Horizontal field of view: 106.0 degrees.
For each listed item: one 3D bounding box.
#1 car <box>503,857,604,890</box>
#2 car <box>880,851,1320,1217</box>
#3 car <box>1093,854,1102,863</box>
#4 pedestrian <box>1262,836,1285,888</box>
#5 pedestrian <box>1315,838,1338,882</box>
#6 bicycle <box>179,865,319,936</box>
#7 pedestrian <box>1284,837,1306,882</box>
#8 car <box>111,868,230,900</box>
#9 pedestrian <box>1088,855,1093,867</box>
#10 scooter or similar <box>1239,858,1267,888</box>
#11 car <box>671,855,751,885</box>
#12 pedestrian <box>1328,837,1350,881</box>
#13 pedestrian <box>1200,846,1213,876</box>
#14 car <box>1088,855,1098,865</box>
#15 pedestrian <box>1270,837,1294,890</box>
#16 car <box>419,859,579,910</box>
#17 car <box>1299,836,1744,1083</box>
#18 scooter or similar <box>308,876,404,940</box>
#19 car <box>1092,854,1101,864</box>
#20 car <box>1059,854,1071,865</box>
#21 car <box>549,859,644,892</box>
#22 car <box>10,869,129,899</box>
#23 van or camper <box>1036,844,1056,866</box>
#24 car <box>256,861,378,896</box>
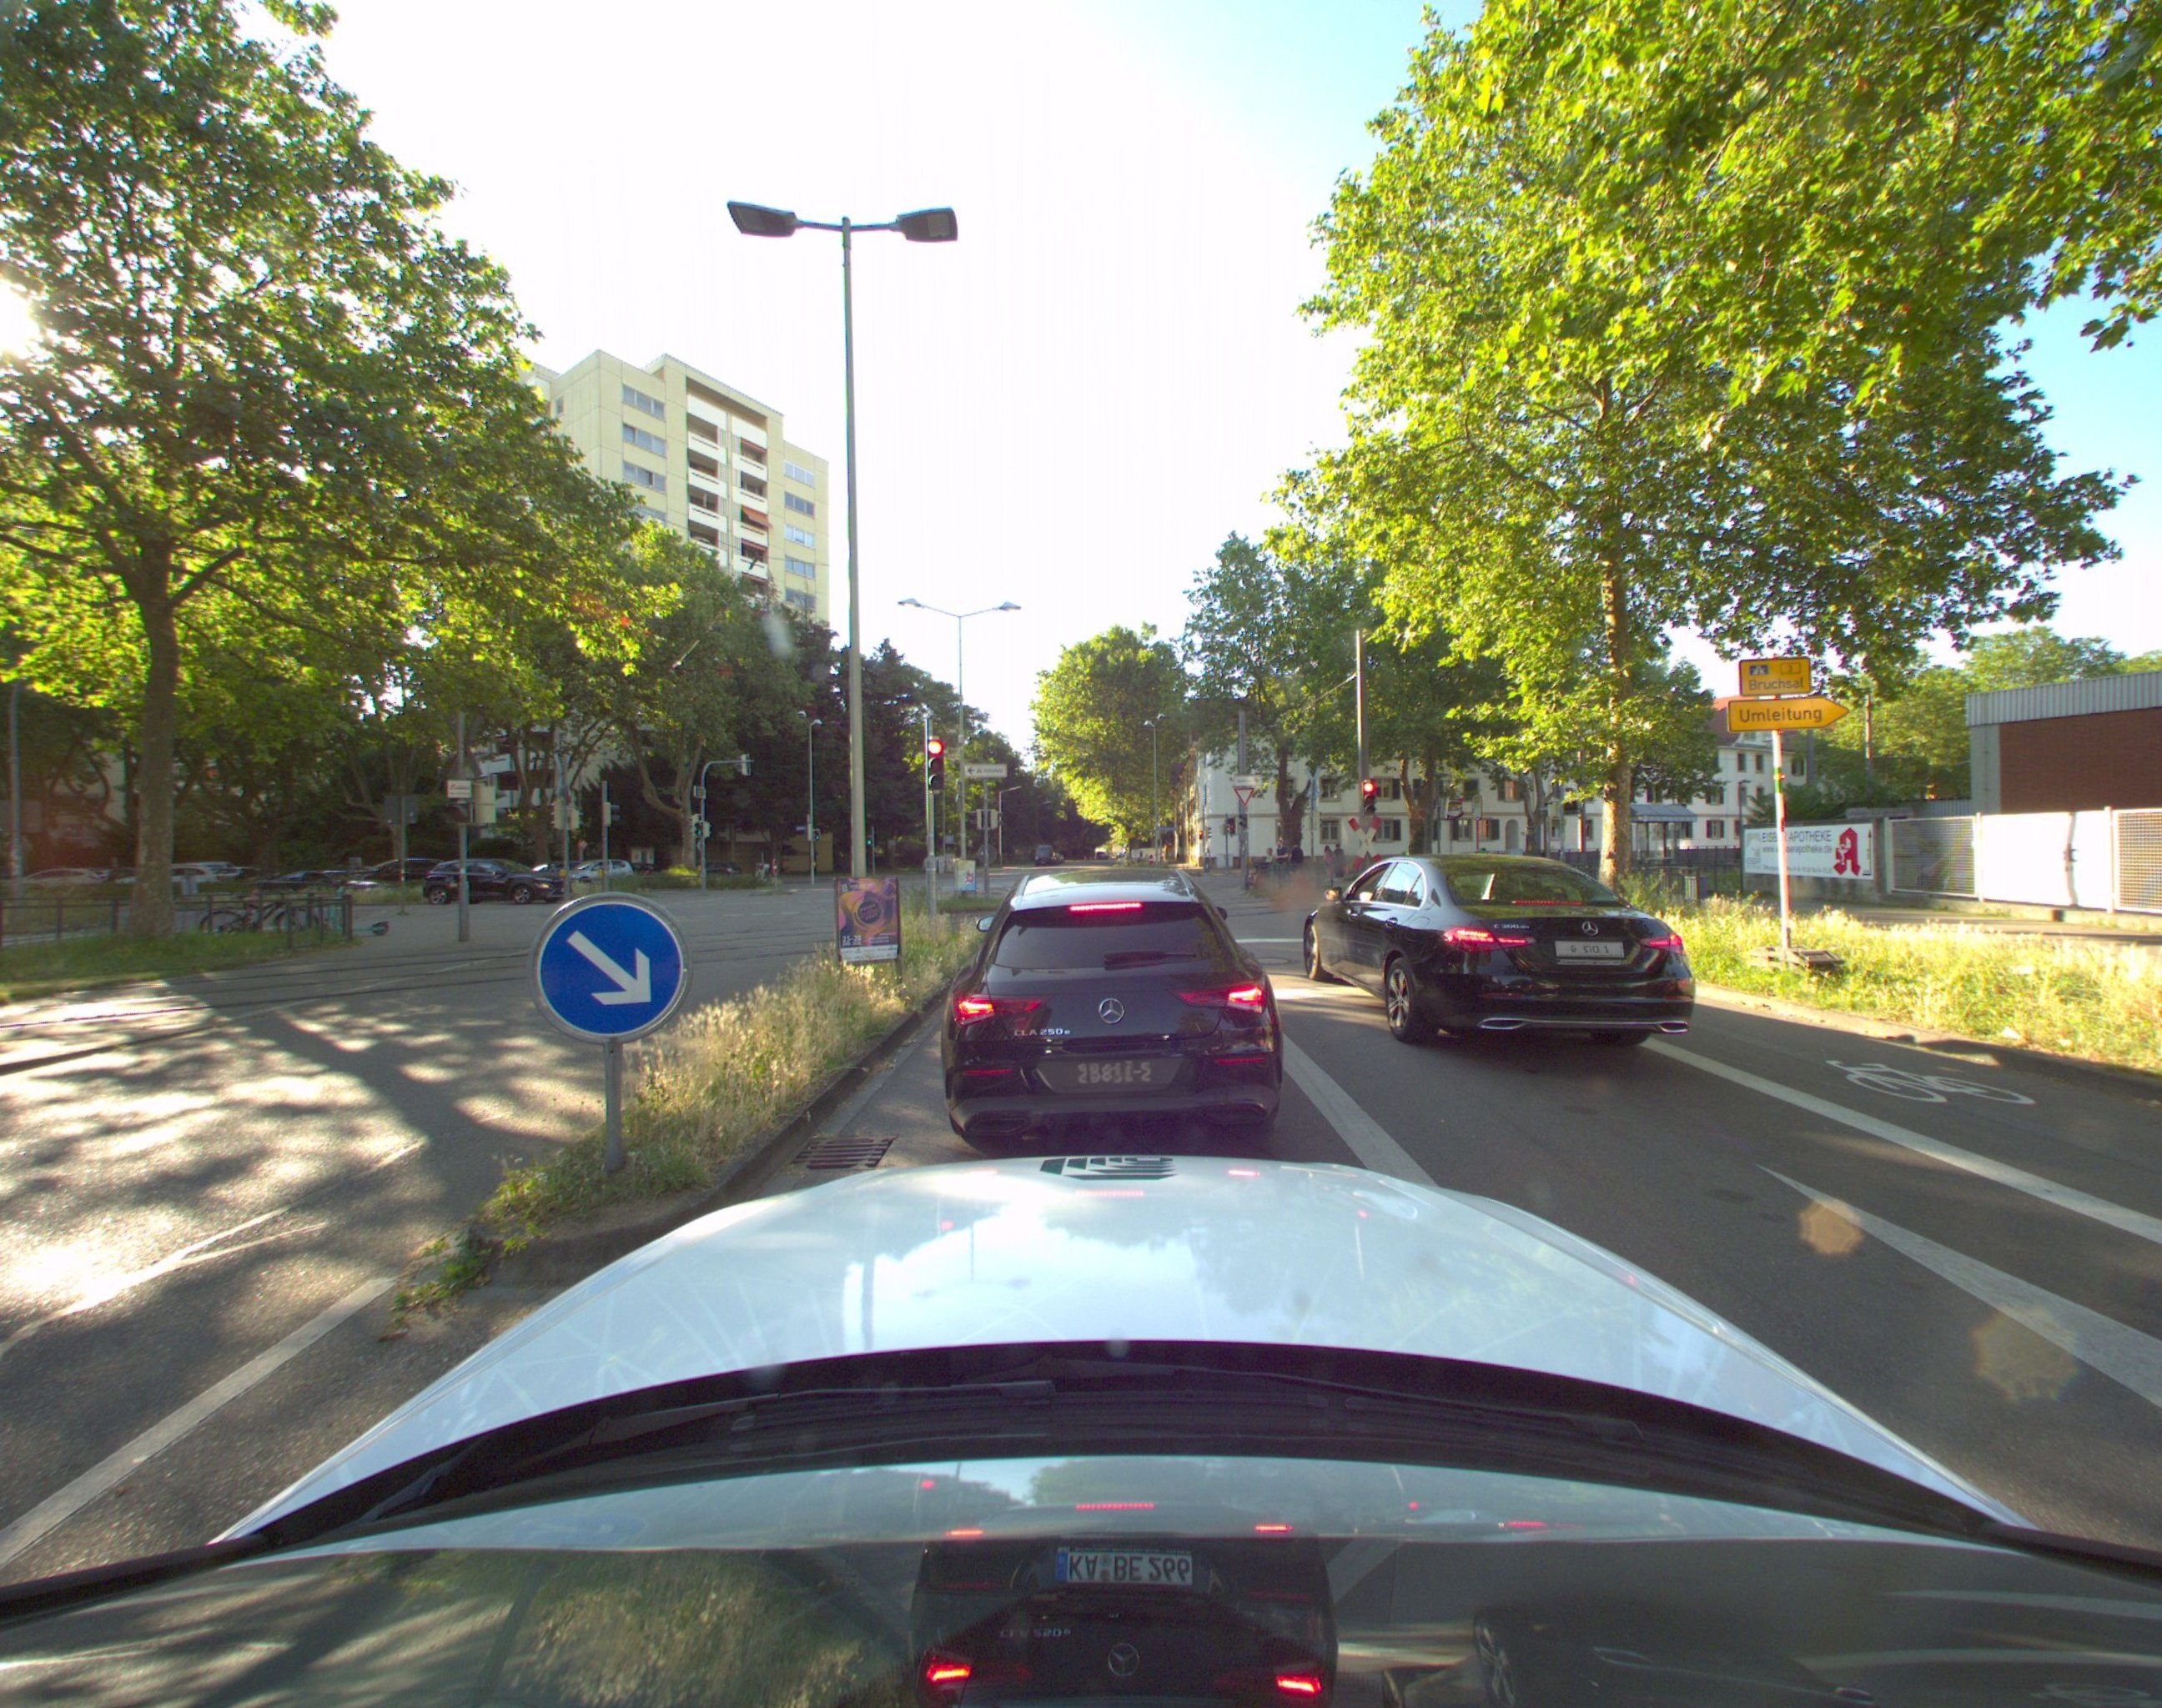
[{"bbox_3d":[-27.223,0.977,42.154,1.716,1.596,4.025,-1,-1,32],"label":"car"},{"bbox_3d":[0.190,0.766,5.503,1.881,1.450,4.004,0,2,3],"label":"car"},{"bbox_3d":[3.231,0.906,158.619,1.727,1.765,4.020,0,-1,2],"label":"car"},{"bbox_3d":[7.285,0.300,30.854,0.681,1.918,0.707,0,-1,-2],"label":"pedestrian"},{"bbox_3d":[10.719,0.261,35.555,0.703,1.918,0.838,0,-1,-2],"label":"pedestrian"},{"bbox_3d":[-15.954,0.870,15.664,1.845,1.307,0.380,0,-1,-26],"label":"bicycle"},{"bbox_3d":[9.276,0.253,35.292,0.703,1.918,0.838,0,-1,-2],"label":"pedestrian"},{"bbox_3d":[-49.164,1.589,44.061,1.716,1.596,4.025,-1,-1,32],"label":"car"},{"bbox_3d":[1.526,1.056,130.195,0.704,1.918,0.837,0,-1,-8],"label":"pedestrian"},{"bbox_3d":[6.415,0.714,30.451,0.826,1.104,0.808,0,-1,-4],"label":"scooter or similar"},{"bbox_3d":[-22.643,0.960,49.915,3.963,1.774,2.005,-1,-1,9],"label":"car"},{"bbox_3d":[11.570,0.232,36.535,0.703,1.918,0.838,0,-1,-2],"label":"pedestrian"},{"bbox_3d":[8.351,0.459,54.014,0.703,1.918,0.838,0,-1,-2],"label":"pedestrian"},{"bbox_3d":[2.088,1.012,145.663,1.727,1.765,4.020,0,-1,2],"label":"car"},{"bbox_3d":[7.410,0.345,30.078,0.680,1.918,0.707,0,-1,0],"label":"pedestrian"},{"bbox_3d":[-19.386,0.986,27.279,3.981,1.596,1.735,0,-1,-5],"label":"car"},{"bbox_3d":[3.341,0.617,7.320,1.881,1.490,4.387,0,2,4],"label":"car"},{"bbox_3d":[-15.094,1.097,16.976,0.408,1.239,1.450,-1,-1,40],"label":"scooter or similar"},{"bbox_3d":[2.901,0.985,150.536,1.727,1.765,4.020,0,-1,2],"label":"car"},{"bbox_3d":[-2.483,0.832,126.671,1.727,1.765,3.972,0,-1,2],"label":"car"},{"bbox_3d":[-24.927,1.089,42.019,1.716,1.596,3.831,-1,-1,32],"label":"car"},{"bbox_3d":[-57.105,1.667,46.064,1.716,1.596,4.025,-1,-1,32],"label":"car"},{"bbox_3d":[-4.289,0.132,100.042,1.986,2.541,4.653,0,-1,2],"label":"van or camper"},{"bbox_3d":[-37.418,1.147,39.990,1.716,1.596,4.025,-1,-1,32],"label":"car"}]
